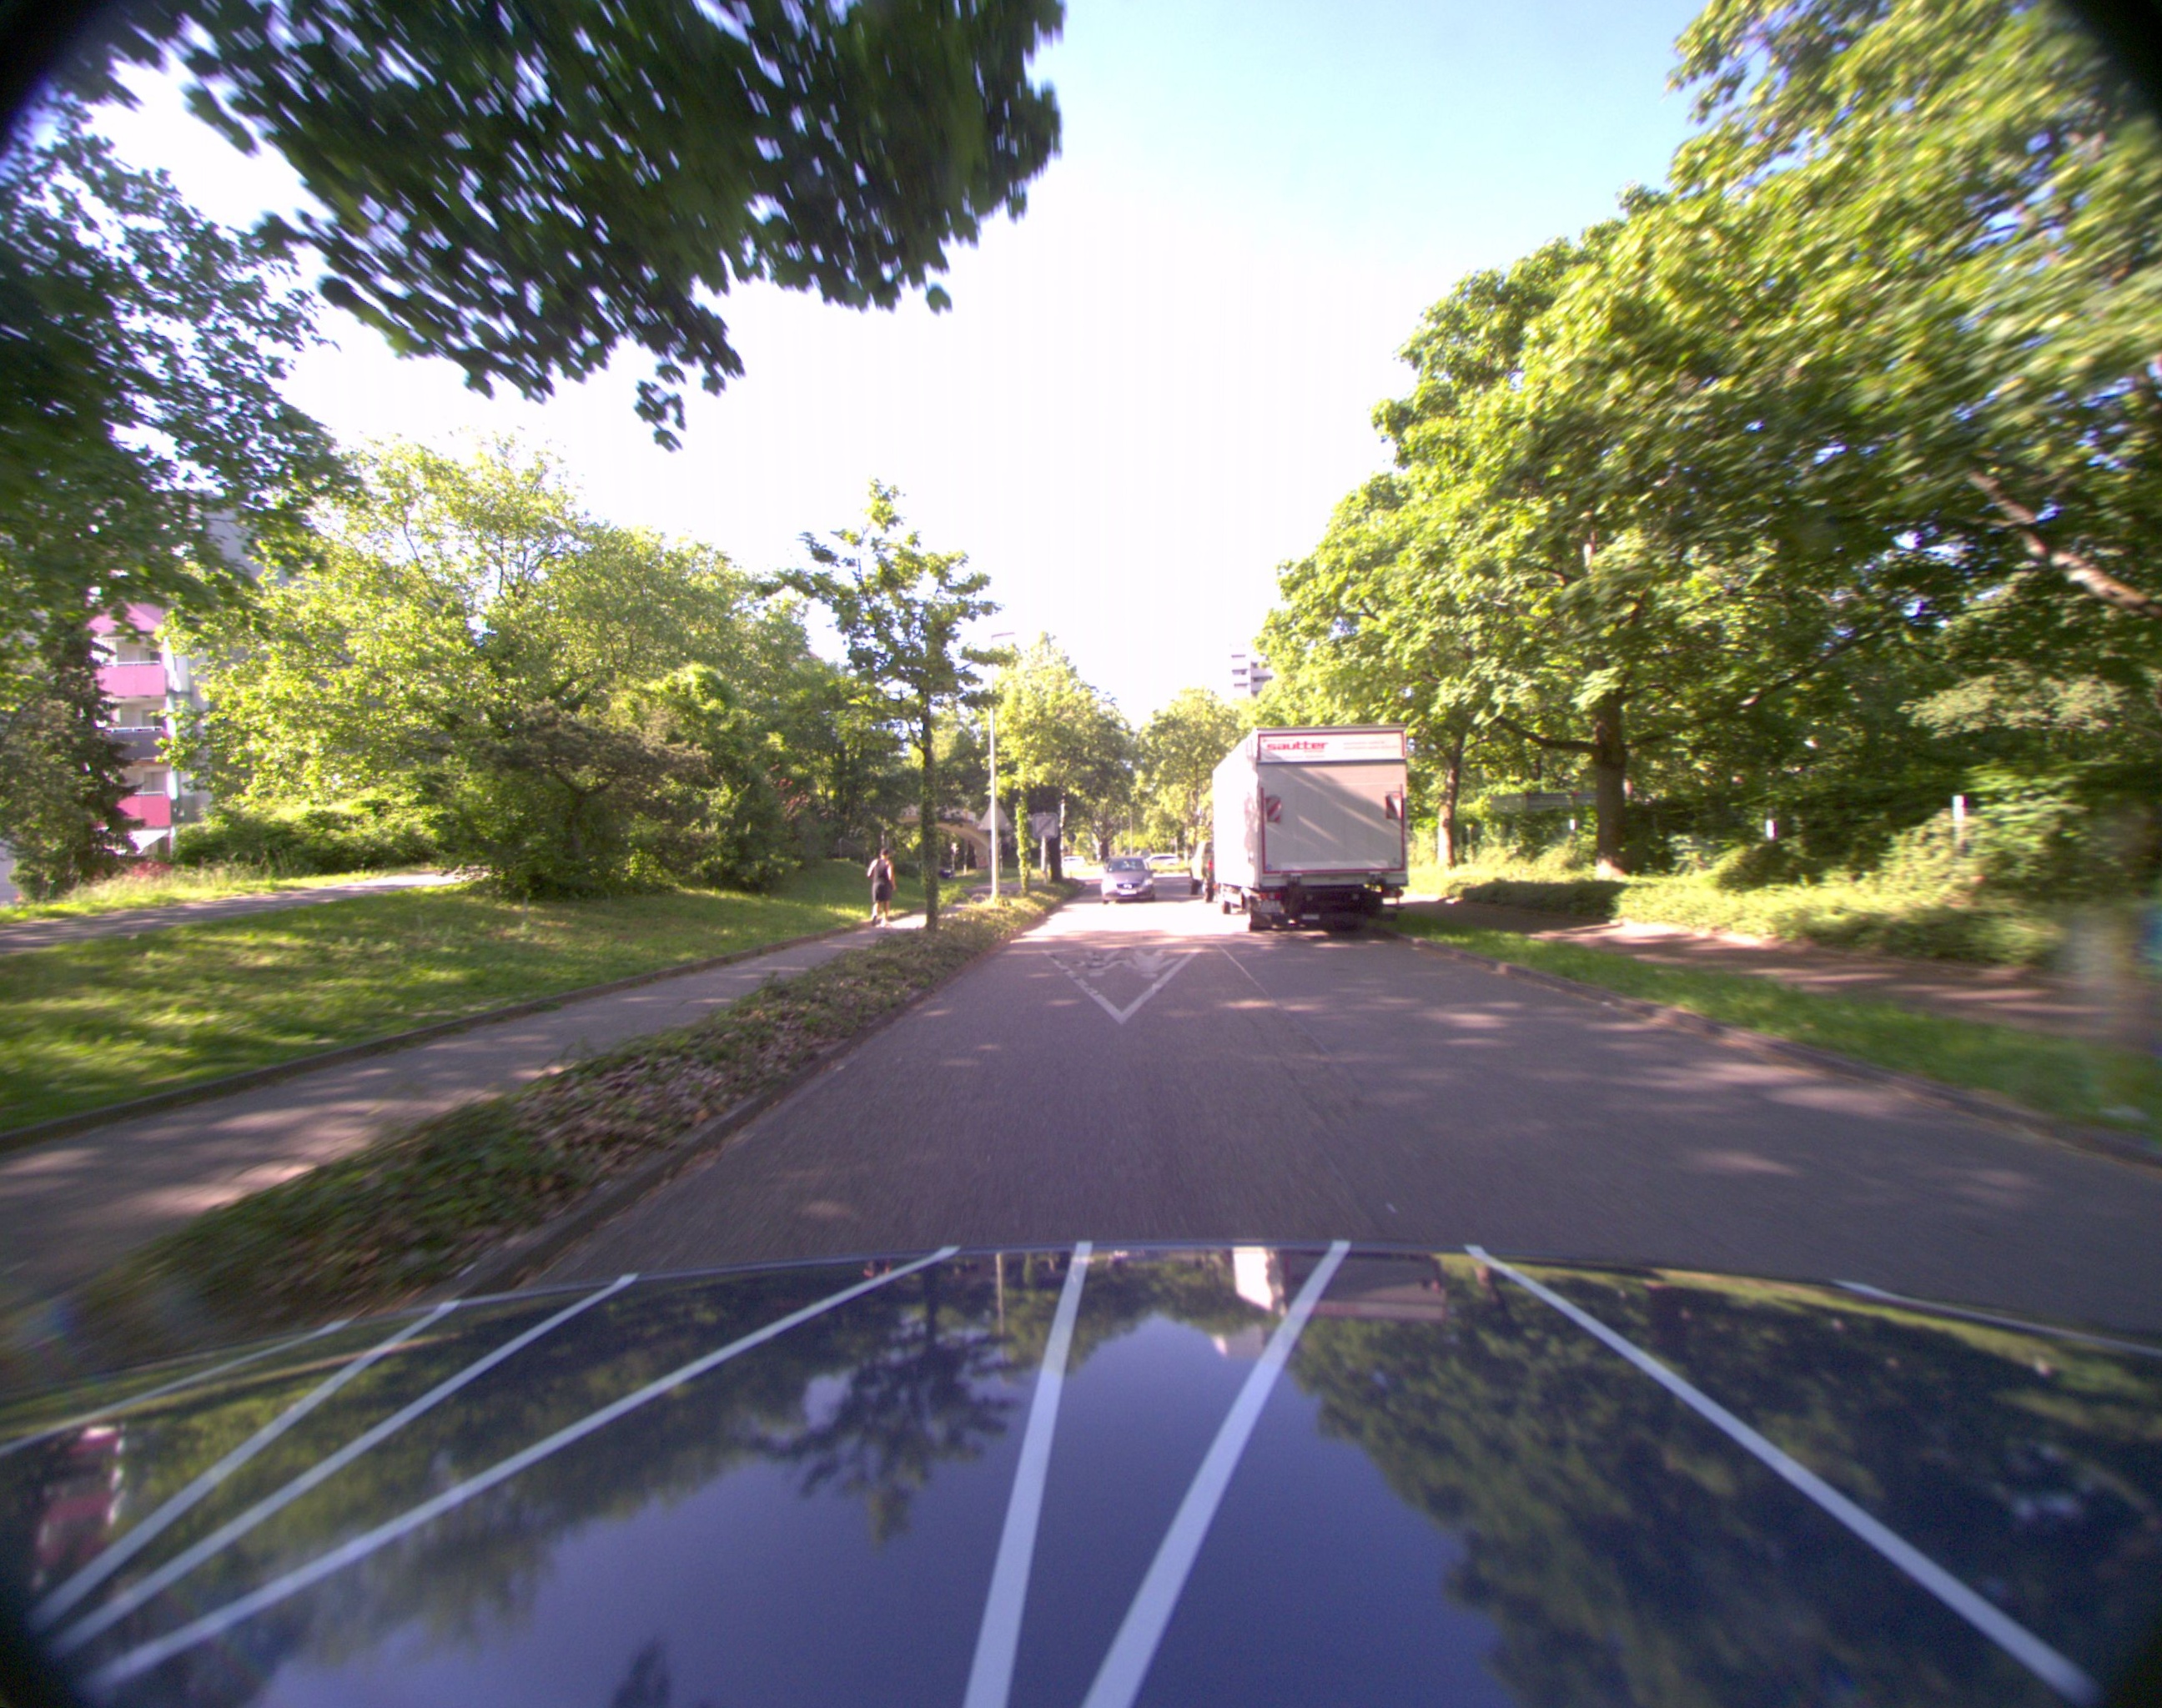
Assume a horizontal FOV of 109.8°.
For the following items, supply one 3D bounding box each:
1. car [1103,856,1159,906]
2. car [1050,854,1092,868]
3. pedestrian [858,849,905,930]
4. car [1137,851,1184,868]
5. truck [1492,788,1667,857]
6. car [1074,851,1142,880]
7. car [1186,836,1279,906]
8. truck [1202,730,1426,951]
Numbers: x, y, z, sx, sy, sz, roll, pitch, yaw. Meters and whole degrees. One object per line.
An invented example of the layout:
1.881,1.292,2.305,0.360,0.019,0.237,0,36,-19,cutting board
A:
1.703,0.881,26.824,1.734,1.578,4.000,-2,0,1,car
-0.982,0.705,78.603,4.061,1.213,1.620,-3,1,9,car
-4.594,0.811,17.542,0.792,1.821,0.671,-2,1,4,pedestrian
7.888,0.551,75.235,4.480,1.384,1.620,-3,1,7,car
15.311,-0.938,23.541,3.996,2.002,2.204,0,0,1,truck
1.741,0.782,49.912,4.323,1.637,1.723,-3,1,43,car
5.098,0.511,26.626,2.124,2.083,6.585,-2,0,2,car
4.561,-0.231,16.819,2.741,3.620,8.102,-2,0,3,truck
